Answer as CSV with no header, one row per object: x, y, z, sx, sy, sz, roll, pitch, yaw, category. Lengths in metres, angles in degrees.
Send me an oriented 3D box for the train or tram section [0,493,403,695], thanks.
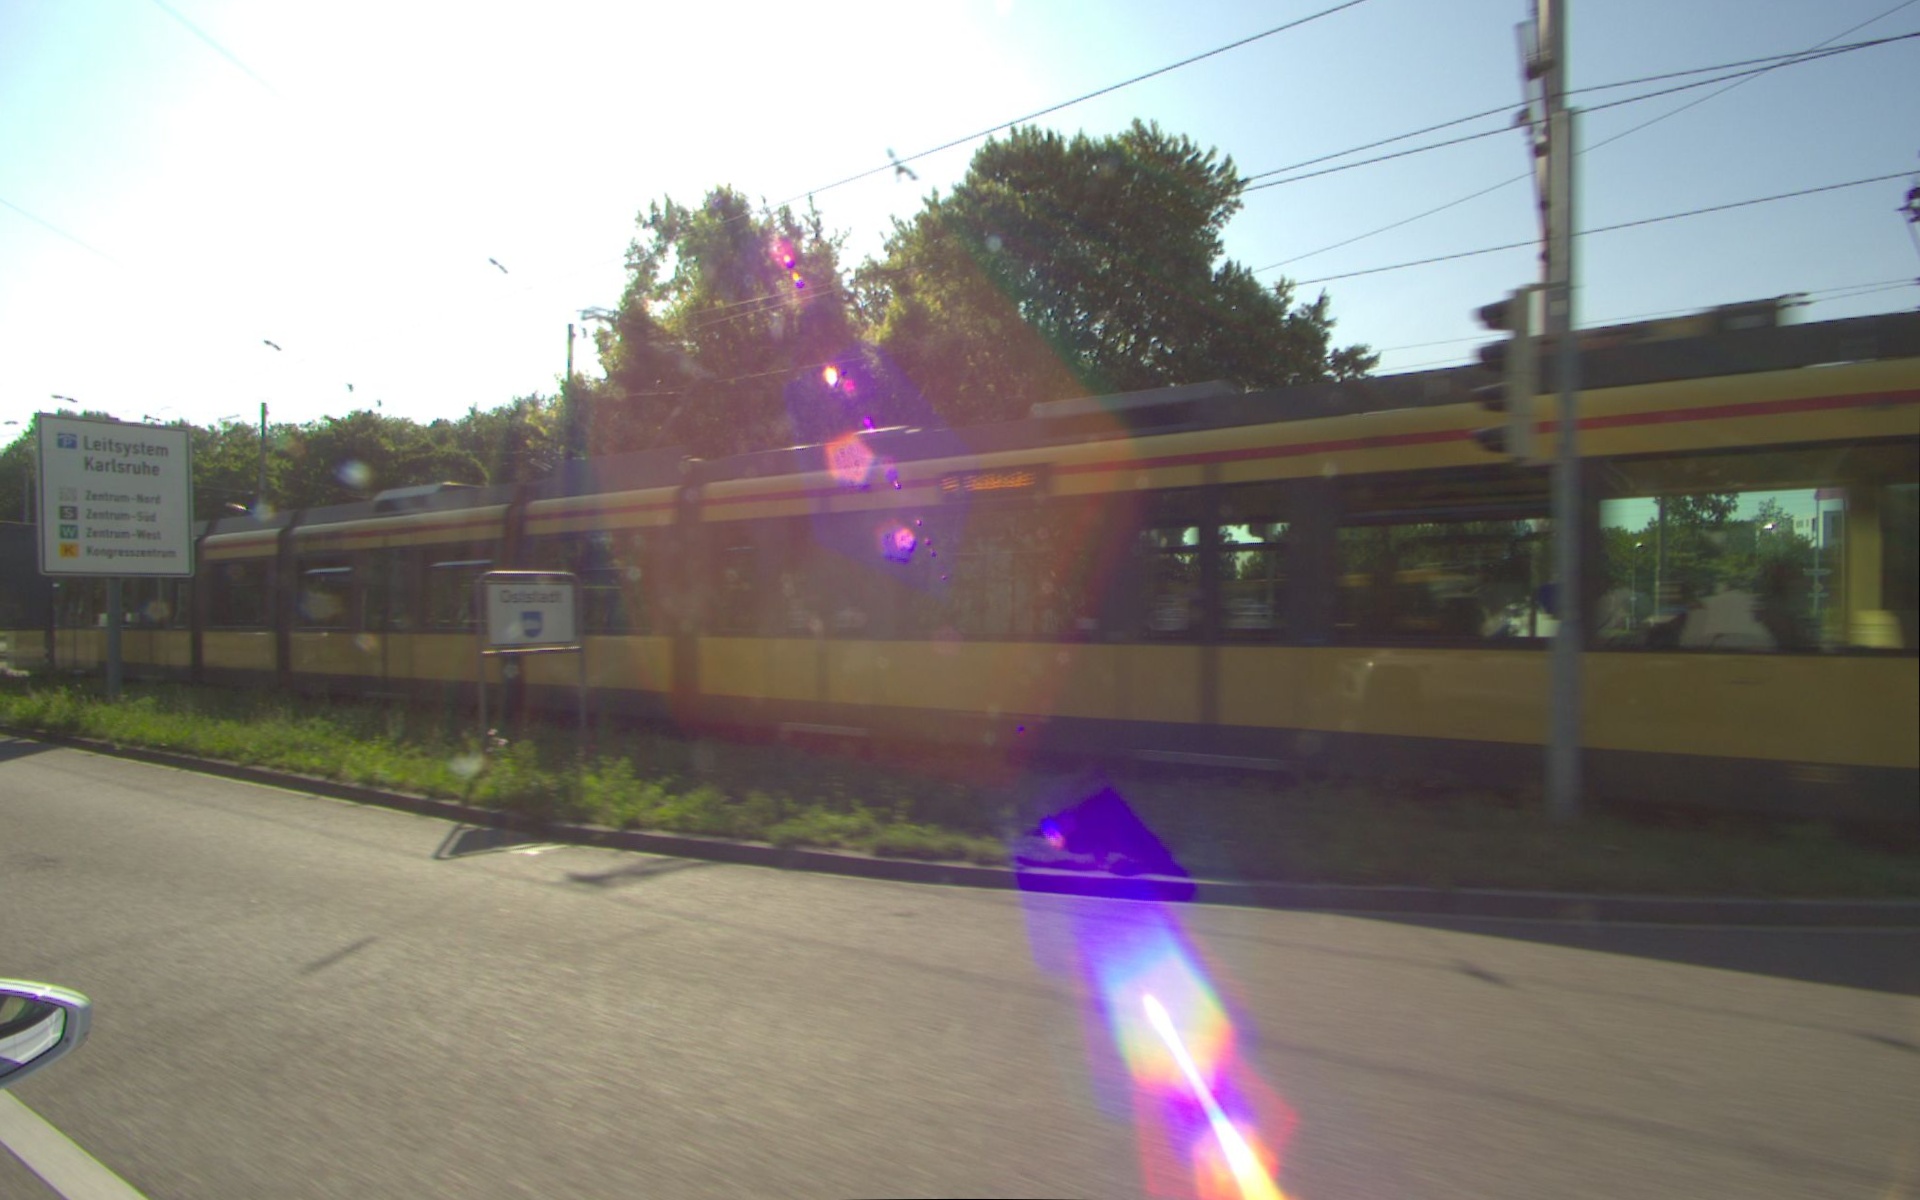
-17.934,0.060,22.675,14.758,3.525,2.680,-1,-2,33,train or tram section

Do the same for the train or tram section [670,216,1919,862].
2.702,-0.236,9.211,12.777,3.664,2.790,-1,-2,34,train or tram section

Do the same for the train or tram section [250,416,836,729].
-7.086,-0.185,15.729,11.099,3.599,2.745,-1,-2,33,train or tram section
